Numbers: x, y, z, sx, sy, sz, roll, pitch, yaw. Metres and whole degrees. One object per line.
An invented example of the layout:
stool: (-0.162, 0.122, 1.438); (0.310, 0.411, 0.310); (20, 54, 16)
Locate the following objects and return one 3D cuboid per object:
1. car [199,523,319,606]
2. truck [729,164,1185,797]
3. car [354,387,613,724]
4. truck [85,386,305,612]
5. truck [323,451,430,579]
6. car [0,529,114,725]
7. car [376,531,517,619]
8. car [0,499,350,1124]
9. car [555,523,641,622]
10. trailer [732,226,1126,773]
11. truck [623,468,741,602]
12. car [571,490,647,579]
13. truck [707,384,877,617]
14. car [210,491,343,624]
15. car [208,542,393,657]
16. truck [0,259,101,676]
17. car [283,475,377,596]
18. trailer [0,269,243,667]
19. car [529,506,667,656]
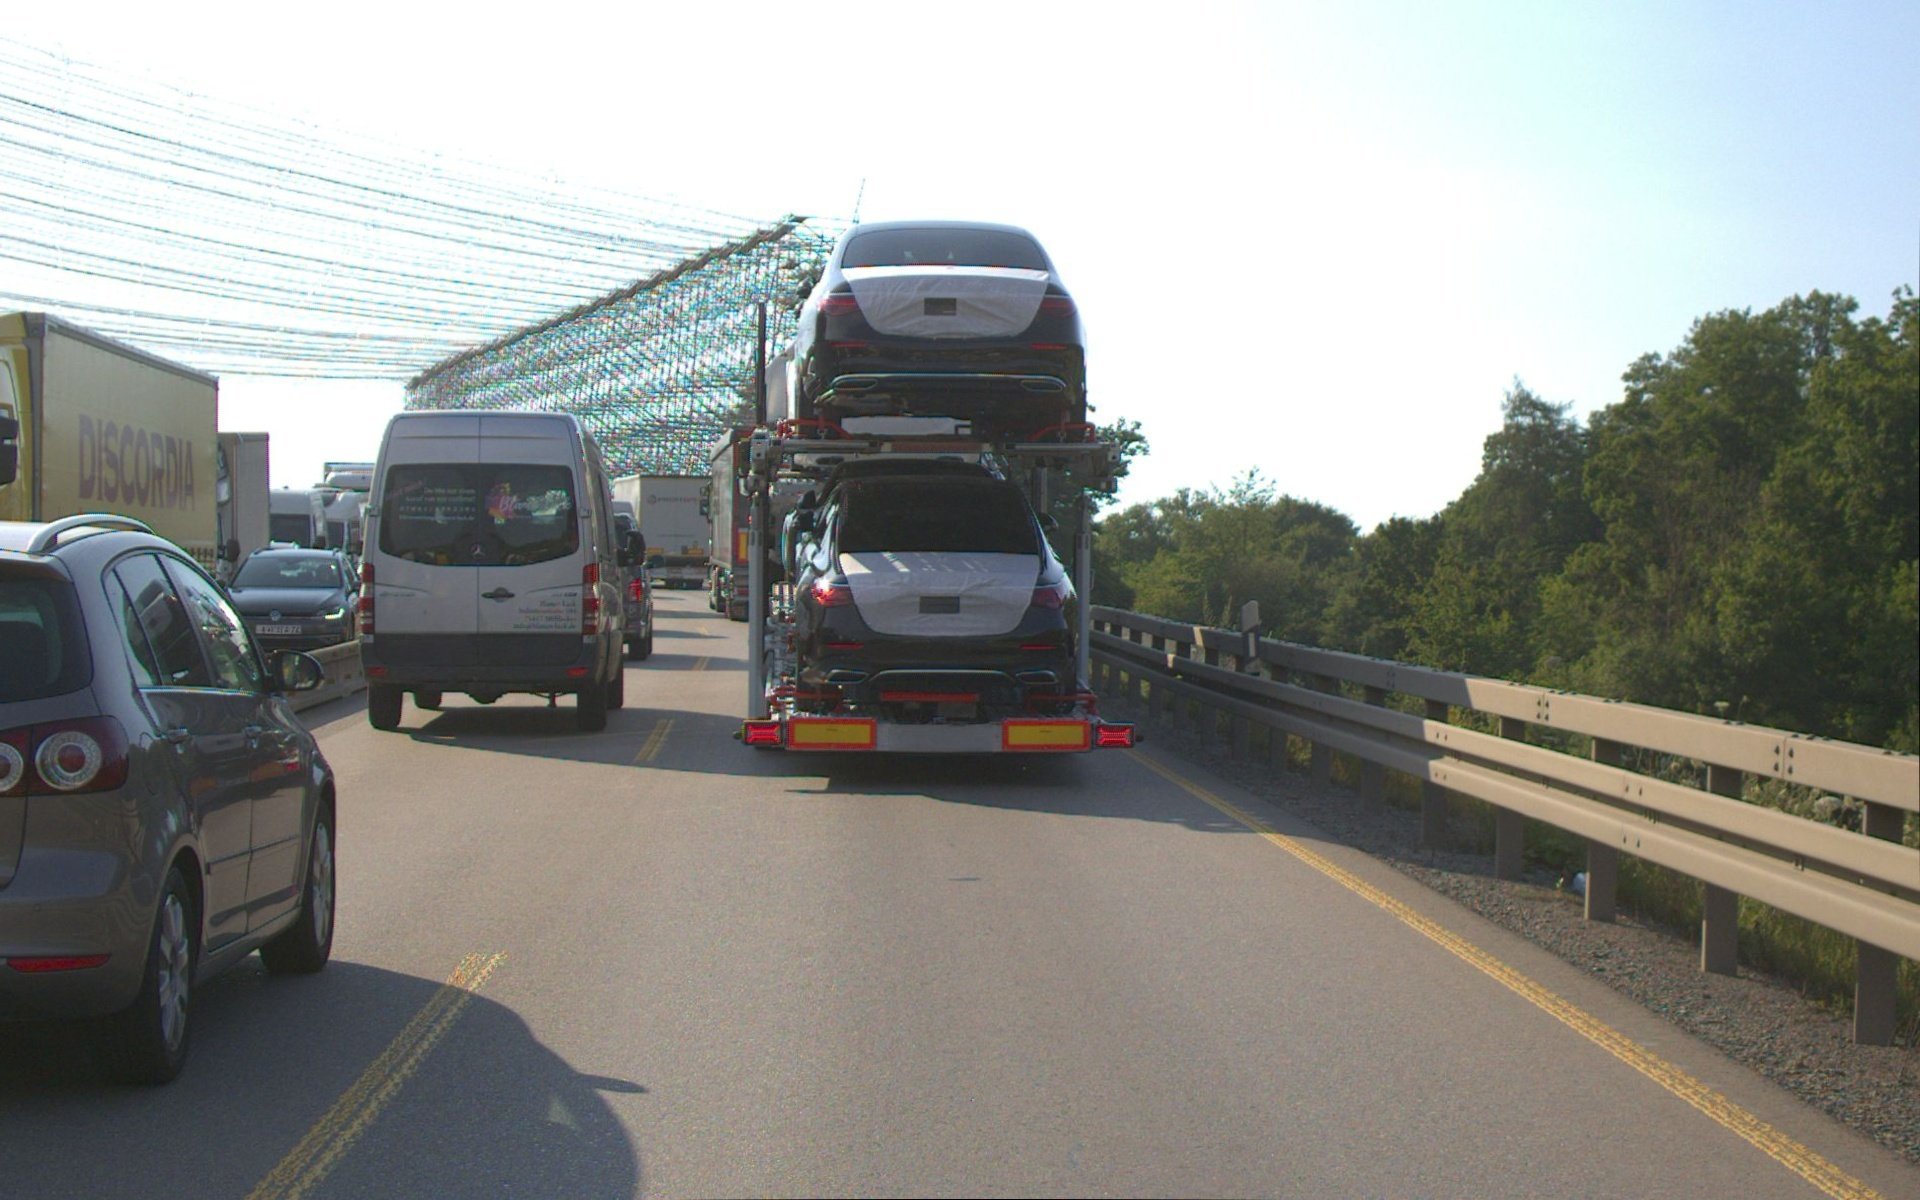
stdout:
car: (-13.546, -0.666, 66.625); (1.808, 1.525, 4.048); (0, 0, -5)
truck: (-0.197, -0.729, 24.489); (2.869, 3.966, 5.772); (0, 0, -4)
car: (-3.993, -0.338, 29.389); (1.979, 2.675, 4.147); (0, 0, -5)
truck: (-12.785, -1.577, 58.007); (2.358, 3.519, 7.698); (0, 0, -3)
truck: (-18.931, -2.730, 112.013); (2.641, 3.981, 9.031); (0, 1, -5)
car: (-8.187, 0.165, 28.273); (1.670, 1.501, 3.848); (0, 1, -3)
car: (-9.173, -0.421, 61.755); (1.993, 1.525, 4.726); (0, 0, -2)
car: (-3.040, 0.551, 10.758); (1.700, 1.581, 4.147); (0, 0, -3)
car: (-7.454, -0.542, 71.034); (1.668, 1.978, 3.818); (0, 0, -5)
trailer: (-0.707, -0.678, 32.730); (2.874, 3.980, 15.281); (0, 0, -4)
truck: (-10.278, -2.396, 125.936); (3.647, 4.661, 11.698); (0, 1, -8)
car: (-8.140, -1.490, 79.895); (1.668, 1.978, 3.818); (0, 0, -5)
truck: (-3.801, -2.102, 74.998); (3.227, 4.661, 11.697); (0, 1, -5)
car: (-14.547, -0.858, 73.431); (2.128, 2.741, 5.505); (0, 0, -4)
car: (-8.617, 0.012, 45.266); (1.754, 1.444, 4.534); (0, 0, -3)
truck: (-11.427, -1.334, 37.701); (2.893, 4.257, 5.772); (0, 0, -4)
car: (-14.798, -1.522, 80.919); (1.668, 2.756, 4.960); (0, 1, -5)
trailer: (-11.872, -1.401, 44.918); (2.893, 4.379, 14.381); (0, 0, -4)
car: (-4.951, -0.237, 47.357); (1.668, 1.978, 3.818); (0, 0, -3)
